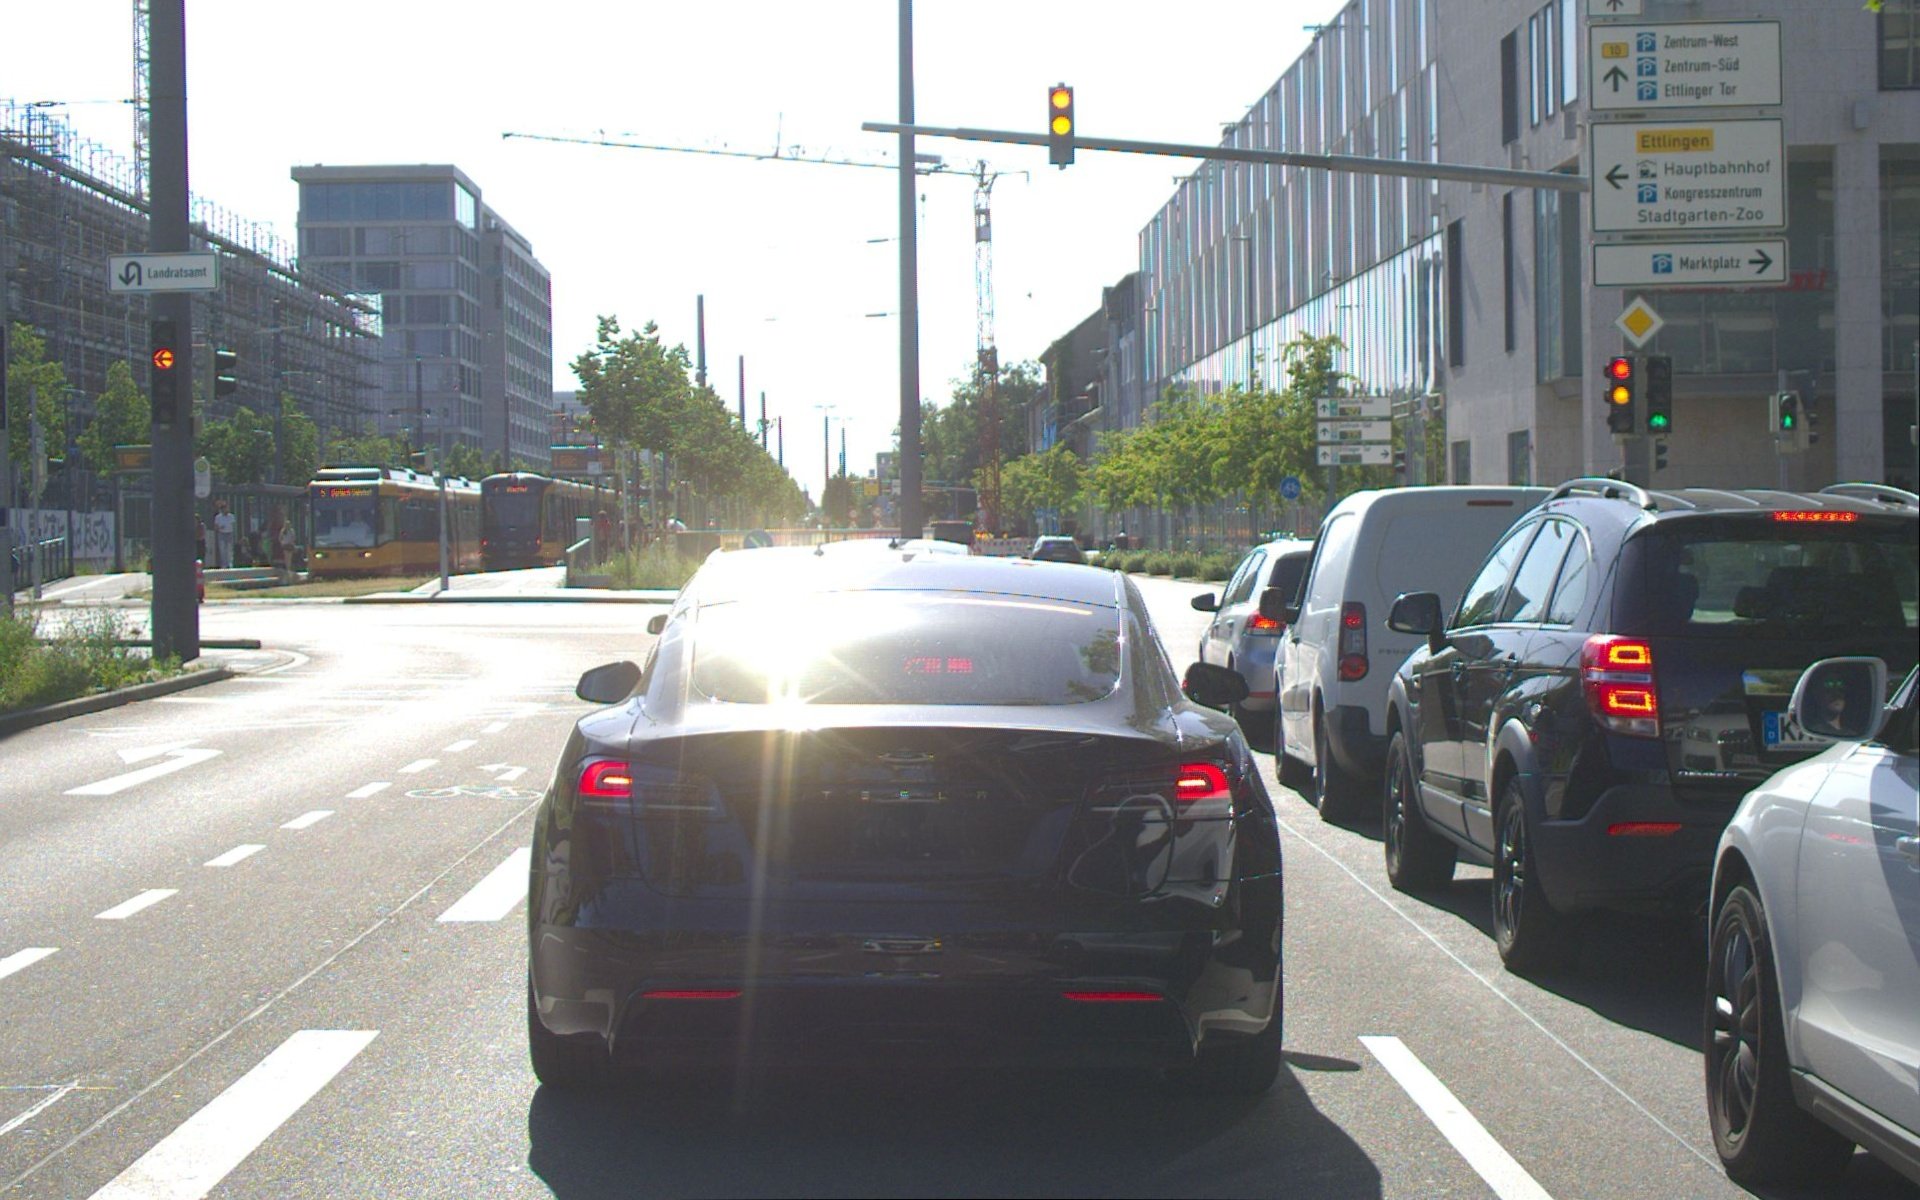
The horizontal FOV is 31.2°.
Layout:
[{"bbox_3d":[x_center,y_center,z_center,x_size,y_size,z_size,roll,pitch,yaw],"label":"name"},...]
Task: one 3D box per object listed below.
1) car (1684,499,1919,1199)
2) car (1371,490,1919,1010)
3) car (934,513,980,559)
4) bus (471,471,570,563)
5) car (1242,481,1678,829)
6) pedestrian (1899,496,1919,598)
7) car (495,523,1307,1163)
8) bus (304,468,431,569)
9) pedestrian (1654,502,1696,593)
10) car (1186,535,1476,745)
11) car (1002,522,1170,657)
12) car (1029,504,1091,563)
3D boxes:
[{"bbox_3d":[2.634,0.613,6.429,1.721,1.612,4.186,0,2,1],"label":"car"},{"bbox_3d":[2.718,0.421,13.044,1.721,1.647,4.187,0,2,-1],"label":"car"},{"bbox_3d":[-0.146,-2.923,156.879,1.993,2.007,4.000,1,0,-1],"label":"car"},{"bbox_3d":[-14.953,-2.773,117.529,2.627,2.949,9.900,1,0,-3],"label":"bus"},{"bbox_3d":[2.738,0.225,19.709,1.721,1.776,4.187,0,2,-2],"label":"car"},{"bbox_3d":[13.740,-0.751,49.017,0.562,1.435,0.631,1,0,6],"label":"pedestrian"},{"bbox_3d":[-0.195,0.528,10.130,1.912,1.481,4.010,0,2,-2],"label":"car"},{"bbox_3d":[-17.292,-2.319,100.789,2.627,2.773,8.846,1,0,-3],"label":"bus"},{"bbox_3d":[11.413,-0.837,54.853,0.562,1.435,0.631,1,0,6],"label":"pedestrian"},{"bbox_3d":[2.730,0.242,26.136,1.721,1.427,4.187,0,2,0],"label":"car"},{"bbox_3d":[1.383,-0.160,39.059,1.721,1.427,4.187,0,2,0],"label":"car"},{"bbox_3d":[3.537,-2.352,122.554,1.993,2.007,4.000,1,0,-1],"label":"car"}]
